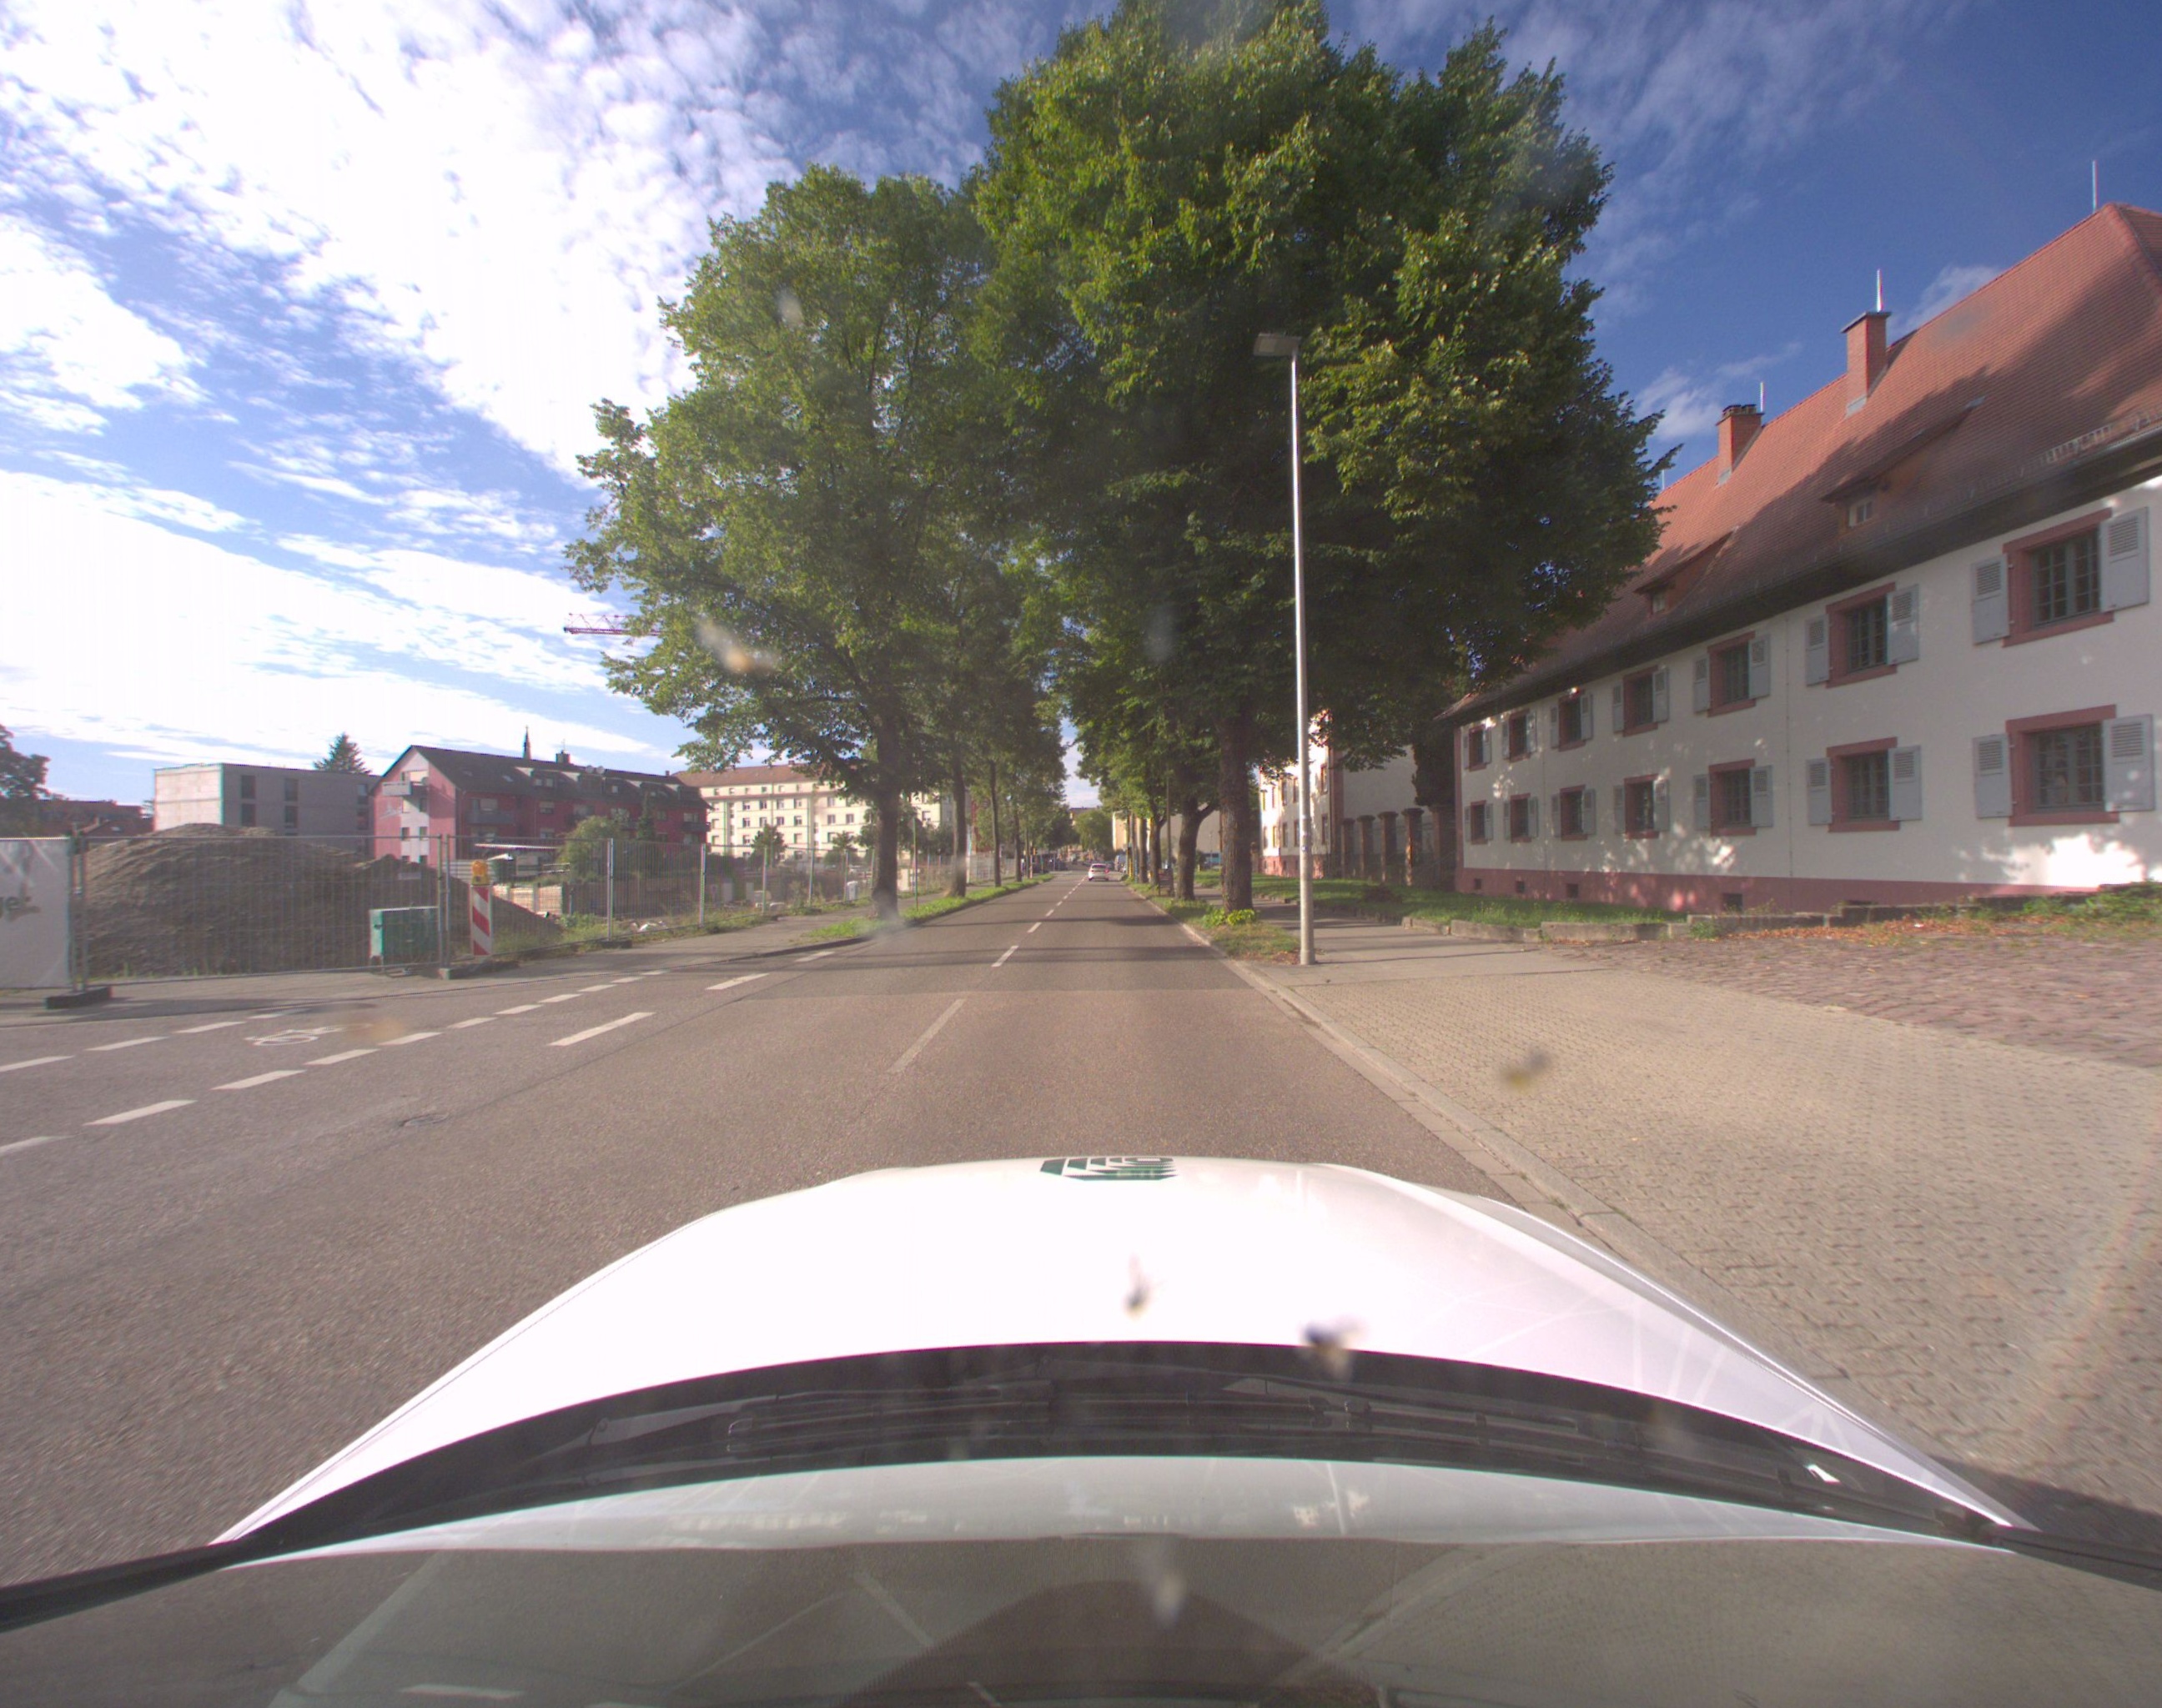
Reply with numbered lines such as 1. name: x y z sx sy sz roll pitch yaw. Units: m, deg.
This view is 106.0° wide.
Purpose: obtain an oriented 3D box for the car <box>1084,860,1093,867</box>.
1. car: 1.873 2.276 200.445 1.986 1.755 4.001 0 -1 1

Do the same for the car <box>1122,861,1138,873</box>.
1. car: 6.803 1.808 112.999 2.008 1.475 4.804 -2 -1 2

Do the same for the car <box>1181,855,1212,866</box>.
1. car: 17.300 0.981 121.718 4.428 1.622 2.002 -2 0 4

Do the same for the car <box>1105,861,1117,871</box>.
1. car: 5.491 2.158 148.033 1.987 1.574 3.999 -2 0 0

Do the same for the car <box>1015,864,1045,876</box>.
1. car: -6.601 2.036 105.791 1.974 1.570 4.024 0 -1 29

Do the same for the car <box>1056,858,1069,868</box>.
1. car: -3.287 1.640 142.959 1.991 1.640 3.992 -2 0 -5

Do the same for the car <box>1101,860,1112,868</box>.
1. car: 4.974 1.916 160.452 1.987 1.574 3.999 -2 0 0

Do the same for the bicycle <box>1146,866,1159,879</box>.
1. bicycle: 5.696 1.464 64.724 0.737 1.035 2.762 -3 -1 0

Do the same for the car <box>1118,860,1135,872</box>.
1. car: 6.699 1.749 120.508 1.988 1.615 4.404 -2 0 -2

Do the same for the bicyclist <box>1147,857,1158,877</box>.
1. bicyclist: 5.678 1.009 64.748 0.735 1.513 0.874 -3 -1 0

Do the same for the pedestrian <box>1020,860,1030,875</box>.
1. pedestrian: -6.262 1.529 91.417 1.007 1.728 1.173 0 -2 -11

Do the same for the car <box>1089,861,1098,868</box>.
1. car: 2.897 2.347 185.537 1.987 1.574 3.999 -2 0 0

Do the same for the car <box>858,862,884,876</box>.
1. car: -31.340 2.264 121.777 1.978 2.014 4.017 -2 0 16

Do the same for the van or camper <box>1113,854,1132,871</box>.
1. van or camper: 6.423 1.286 126.551 2.204 2.607 5.365 -2 0 -3

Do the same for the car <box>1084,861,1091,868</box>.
1. car: 1.963 3.045 234.889 1.986 1.755 4.001 0 -1 1

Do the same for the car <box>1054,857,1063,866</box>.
1. car: -5.197 1.676 189.570 1.987 2.013 3.999 -2 0 0

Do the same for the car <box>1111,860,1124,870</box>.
1. car: 6.130 1.873 137.476 1.987 1.574 3.999 -2 0 0

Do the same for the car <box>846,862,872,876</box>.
1. car: -33.552 2.247 123.055 1.978 2.014 4.017 -2 0 16

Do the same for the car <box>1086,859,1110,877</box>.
1. car: 1.522 1.283 73.884 1.988 1.555 4.270 0 -1 -2

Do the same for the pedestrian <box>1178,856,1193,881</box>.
1. pedestrian: 6.952 0.981 54.335 0.811 1.590 0.769 -3 -1 0

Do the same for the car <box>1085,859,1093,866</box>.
1. car: 2.084 2.319 214.221 1.986 1.755 4.001 0 -1 1

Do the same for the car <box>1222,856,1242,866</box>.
1. car: 21.405 0.980 115.404 1.988 1.442 3.997 -2 0 -2
